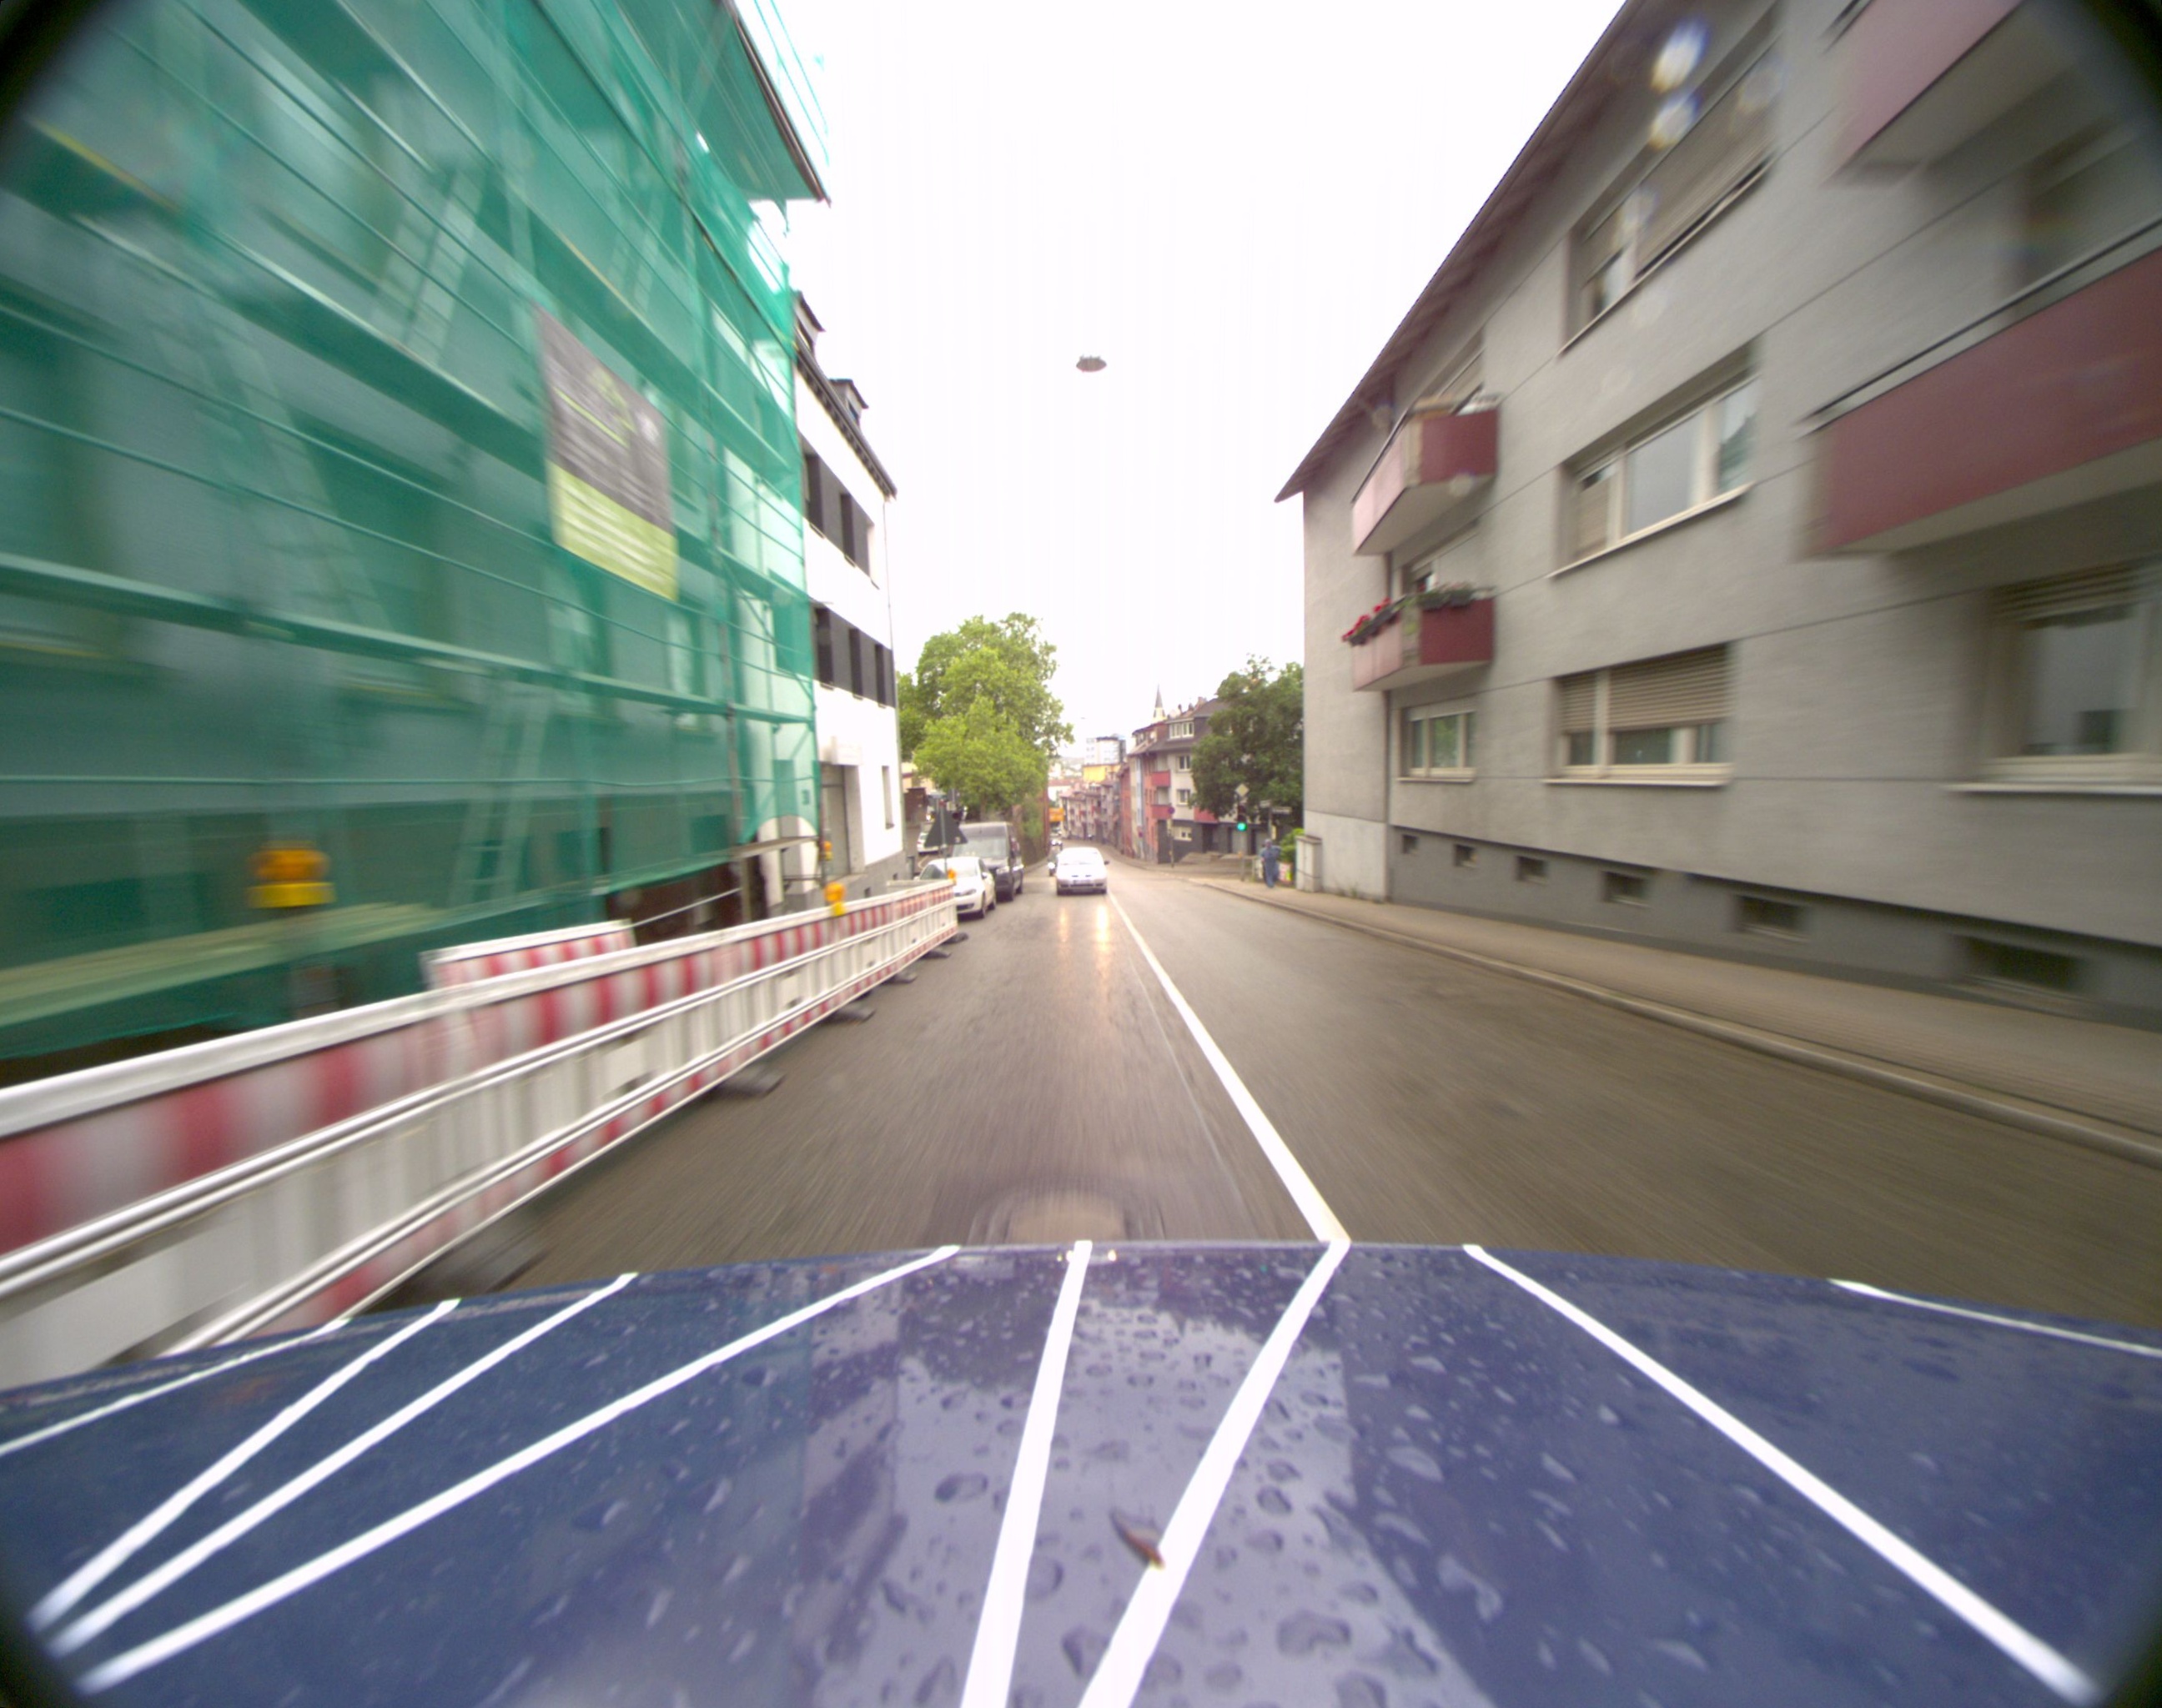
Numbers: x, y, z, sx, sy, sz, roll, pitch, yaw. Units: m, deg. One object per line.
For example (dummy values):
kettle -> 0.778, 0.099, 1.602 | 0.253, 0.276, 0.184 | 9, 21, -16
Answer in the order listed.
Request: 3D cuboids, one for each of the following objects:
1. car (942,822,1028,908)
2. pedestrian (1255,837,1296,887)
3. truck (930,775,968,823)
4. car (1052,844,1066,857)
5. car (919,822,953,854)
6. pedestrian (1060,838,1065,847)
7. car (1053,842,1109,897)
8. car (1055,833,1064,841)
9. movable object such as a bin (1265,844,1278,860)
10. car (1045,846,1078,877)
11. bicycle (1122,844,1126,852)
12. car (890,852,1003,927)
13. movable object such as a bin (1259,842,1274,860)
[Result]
car -> -3.057, 0.210, 25.512 | 1.998, 2.401, 5.833 | -3, 3, 0
pedestrian -> 6.151, 0.267, 24.116 | 0.871, 1.531, 1.087 | -4, -2, -3
truck -> -12.144, -5.292, 70.658 | 2.756, 3.296, 11.201 | 0, 10, -7
car -> -2.855, -0.489, 98.627 | 1.637, 1.521, 3.999 | -3, 1, -1
car -> -9.929, -1.129, 52.248 | 1.635, 1.487, 4.339 | -4, 9, -3
pedestrian -> -3.298, -2.034, 135.928 | 0.871, 1.532, 1.087 | -4, 0, -3
car -> -0.027, 0.471, 26.475 | 1.720, 1.528, 3.997 | -3, 3, 0
car -> -4.805, -3.773, 169.676 | 1.638, 1.521, 3.997 | -3, 1, -7
movable object such as a bin -> 12.606, -0.157, 50.234 | 0.630, 1.011, 0.499 | -5, 4, -25
car -> -1.136, 0.402, 45.652 | 1.720, 1.528, 3.998 | -3, 3, 1
bicycle -> 6.628, -0.971, 117.231 | 0.572, 1.111, 2.039 | -4, 2, 1
car -> -3.255, 0.794, 19.335 | 1.998, 1.503, 4.336 | -3, 1, 0
movable object such as a bin -> 12.410, -0.195, 50.843 | 0.562, 1.193, 0.687 | -5, 4, -26
